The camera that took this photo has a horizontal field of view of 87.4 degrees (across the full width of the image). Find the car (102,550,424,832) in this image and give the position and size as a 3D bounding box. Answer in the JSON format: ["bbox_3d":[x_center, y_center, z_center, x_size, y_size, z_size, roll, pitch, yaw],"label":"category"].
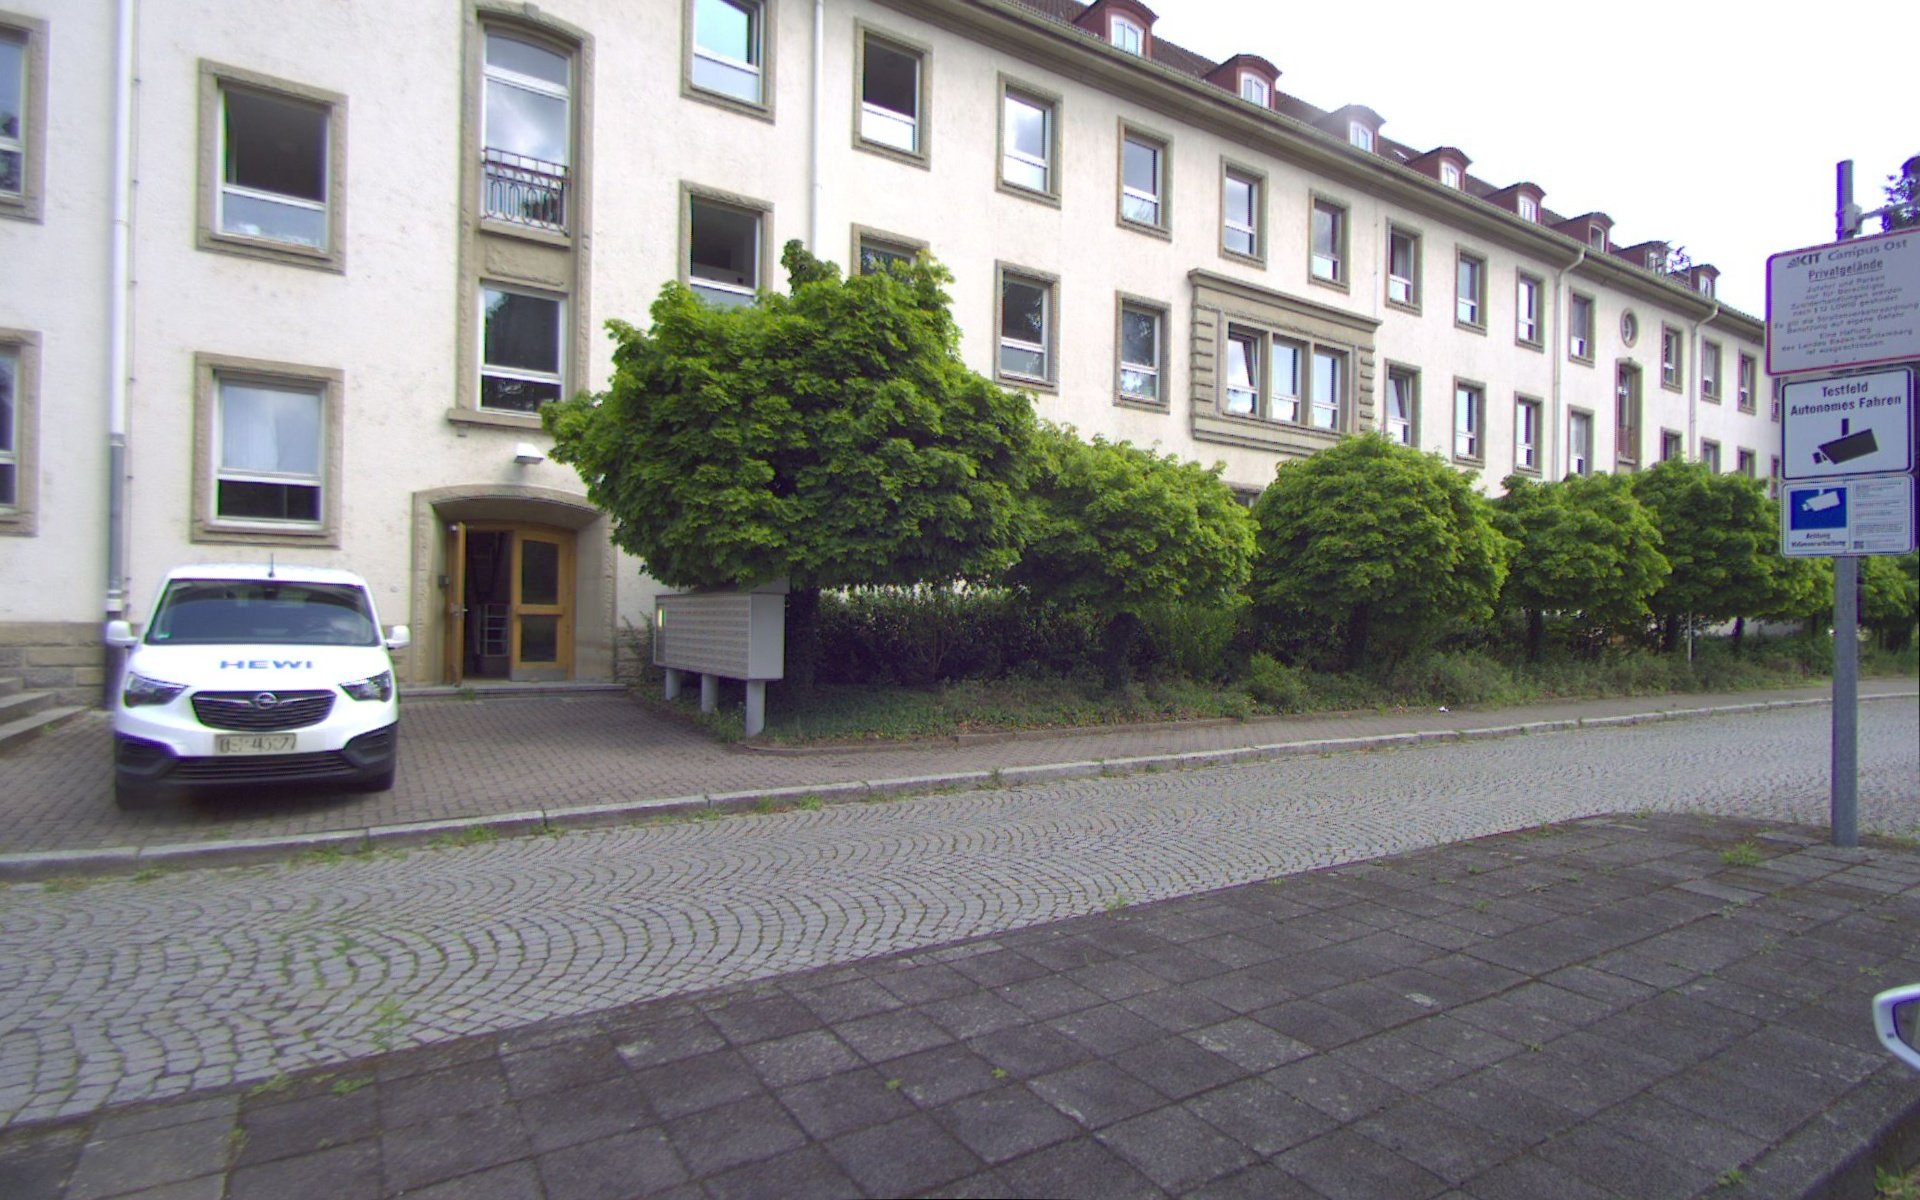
[{"bbox_3d":[-6.001,0.536,8.801,1.802,1.830,4.272,2,1,-34],"label":"car"}]
